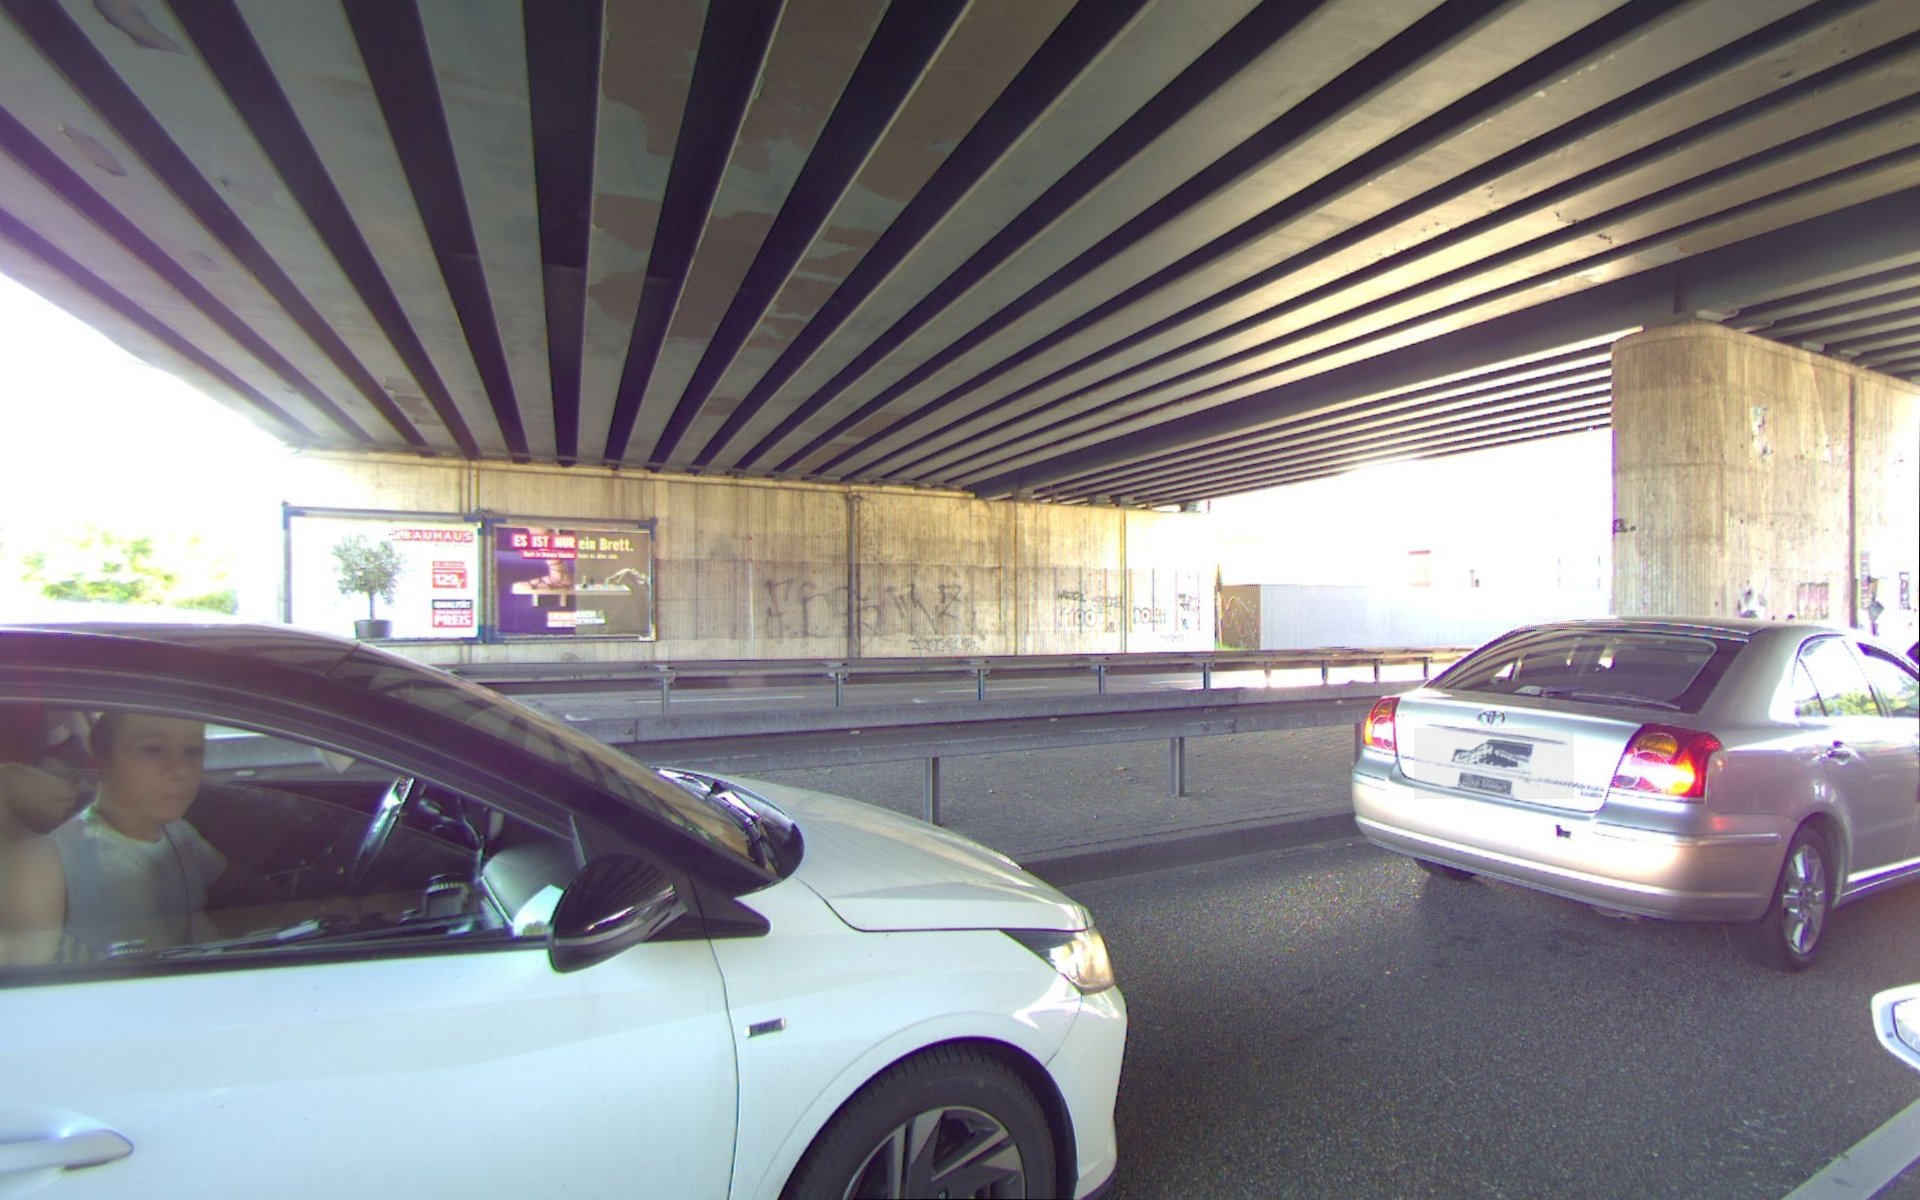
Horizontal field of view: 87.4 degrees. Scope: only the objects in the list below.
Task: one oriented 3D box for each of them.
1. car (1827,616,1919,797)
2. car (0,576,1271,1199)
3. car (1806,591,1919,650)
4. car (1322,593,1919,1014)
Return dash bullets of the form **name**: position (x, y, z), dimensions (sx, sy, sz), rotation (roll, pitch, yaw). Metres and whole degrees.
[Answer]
- **car**: position (9.541, 0.884, 8.855), dimensions (3.687, 1.457, 1.804), rotation (0, 0, -31)
- **car**: position (-1.424, 0.728, 1.958), dimensions (3.946, 1.499, 1.724), rotation (1, -1, -32)
- **car**: position (26.261, 0.594, 27.768), dimensions (4.478, 1.534, 1.826), rotation (2, 0, -7)
- **car**: position (4.085, 0.771, 5.450), dimensions (4.270, 1.499, 1.724), rotation (1, -1, -32)
